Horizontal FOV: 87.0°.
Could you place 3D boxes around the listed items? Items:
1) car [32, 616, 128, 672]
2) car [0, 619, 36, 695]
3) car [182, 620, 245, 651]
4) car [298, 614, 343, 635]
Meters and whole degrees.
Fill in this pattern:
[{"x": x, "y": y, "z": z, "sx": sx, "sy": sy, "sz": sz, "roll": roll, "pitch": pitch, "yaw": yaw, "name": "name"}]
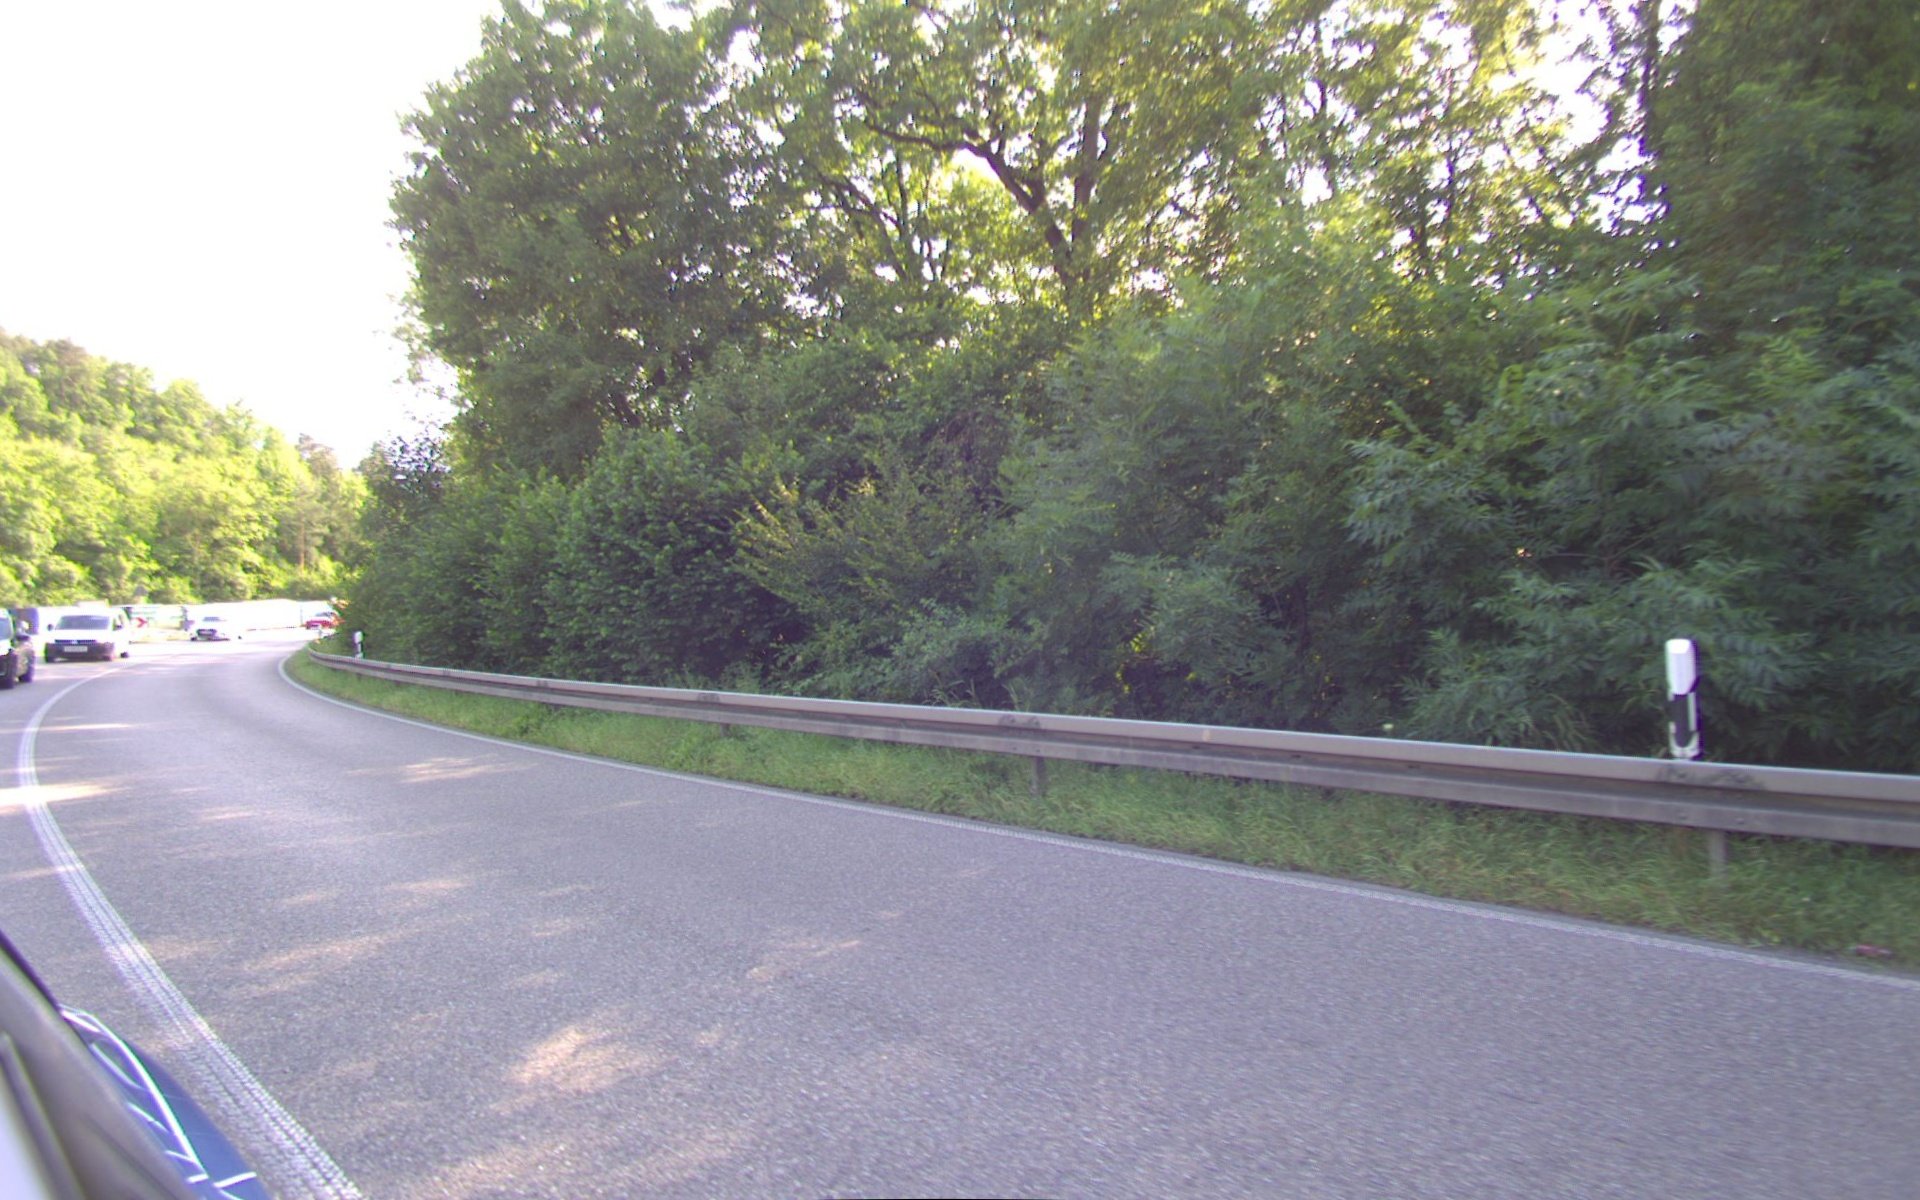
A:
[{"x": -30.220, "y": 1.451, "z": 34.897, "sx": 1.838, "sy": 1.733, "sz": 4.776, "roll": 0, "pitch": 0, "yaw": -33, "name": "car"}, {"x": -21.919, "y": 1.260, "z": 22.253, "sx": 1.819, "sy": 1.582, "sz": 4.267, "roll": 0, "pitch": -2, "yaw": -35, "name": "car"}, {"x": -41.383, "y": 1.955, "z": 56.238, "sx": 1.865, "sy": 1.456, "sz": 4.491, "roll": -3, "pitch": 1, "yaw": -24, "name": "car"}, {"x": -49.352, "y": 1.871, "z": 78.182, "sx": 1.829, "sy": 1.431, "sz": 4.433, "roll": -3, "pitch": 1, "yaw": -18, "name": "car"}]
